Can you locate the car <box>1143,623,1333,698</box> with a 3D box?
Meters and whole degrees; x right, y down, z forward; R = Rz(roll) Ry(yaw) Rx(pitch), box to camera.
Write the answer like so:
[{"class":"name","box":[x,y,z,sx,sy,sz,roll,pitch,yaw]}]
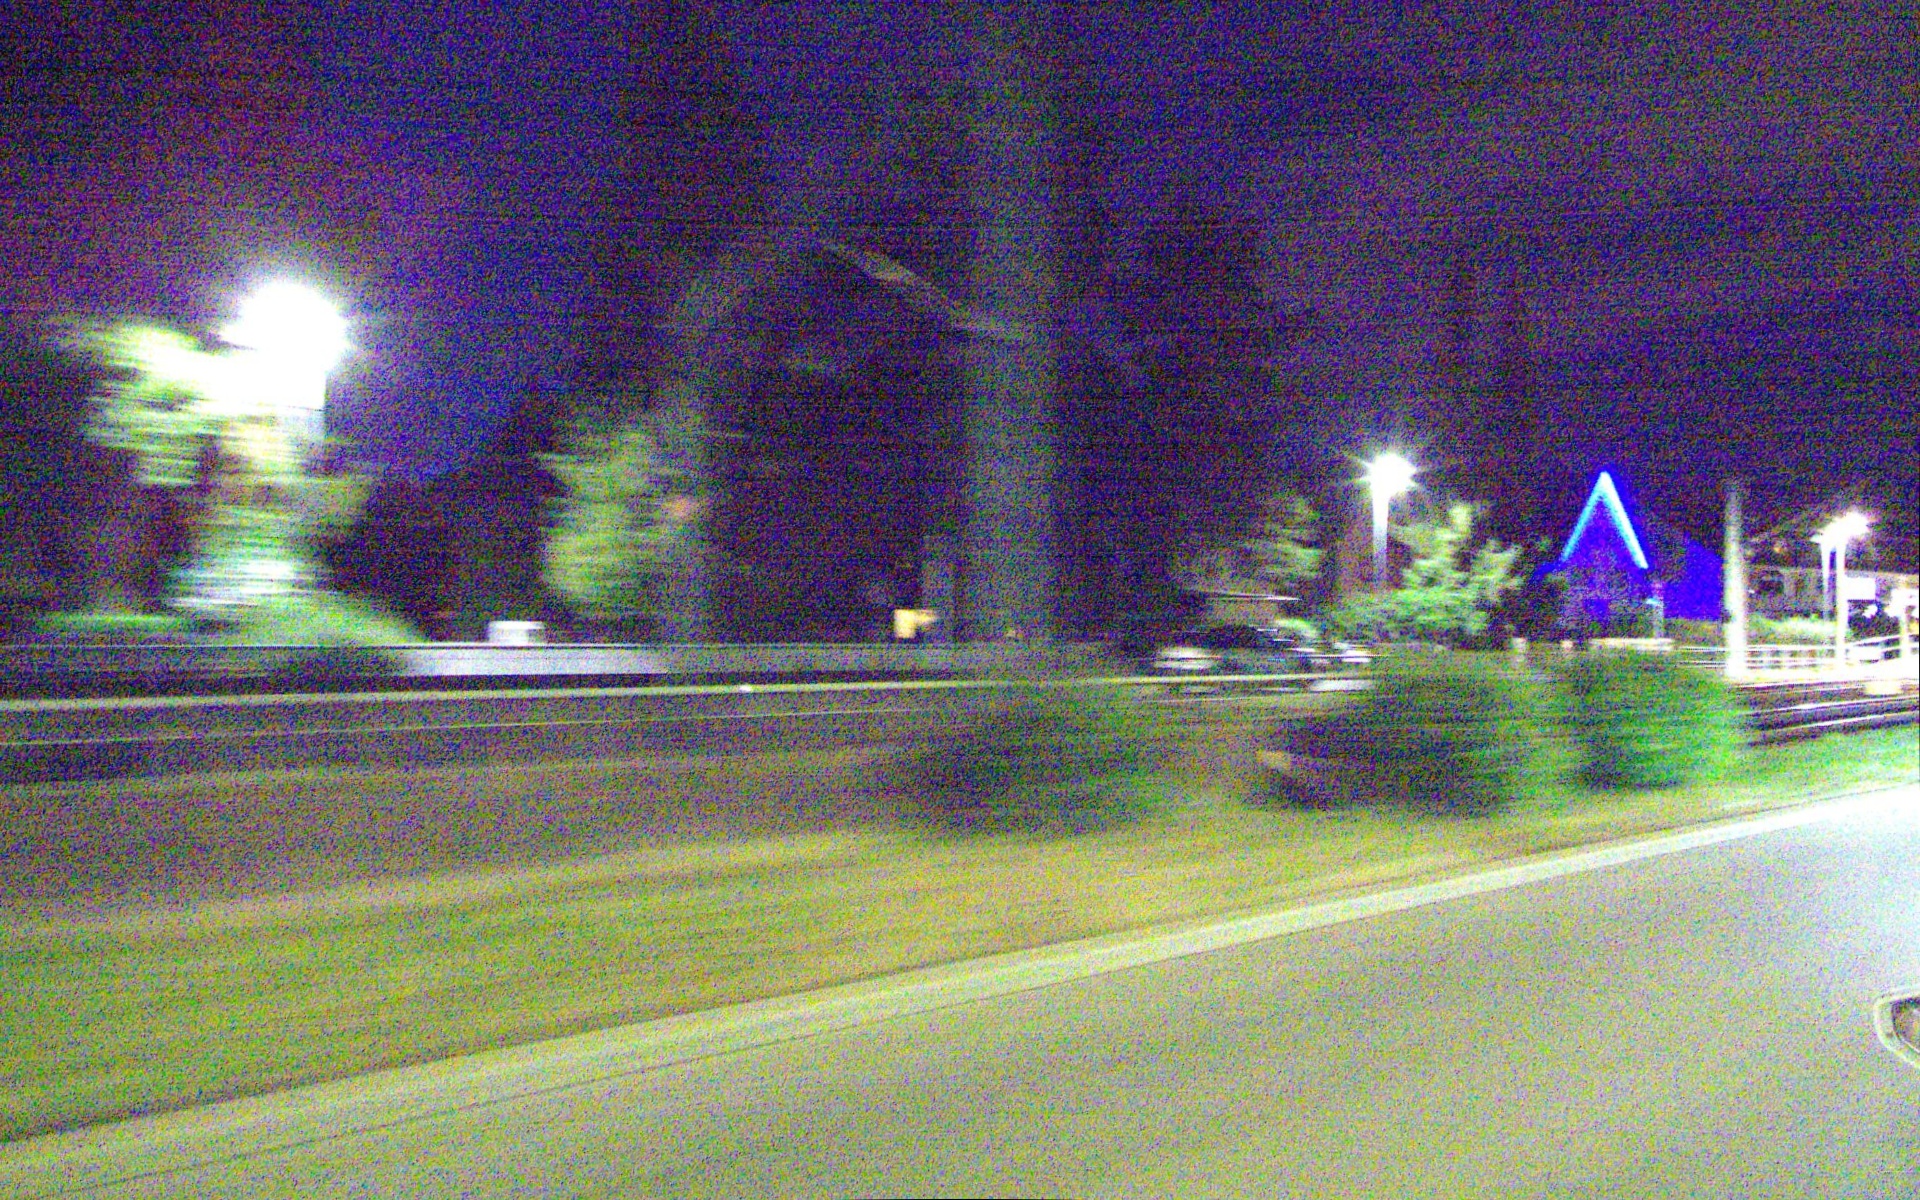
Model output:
[{"class":"car","box":[6.209,1.297,22.333,4.049,1.525,1.856,2,-2,-32]}]
